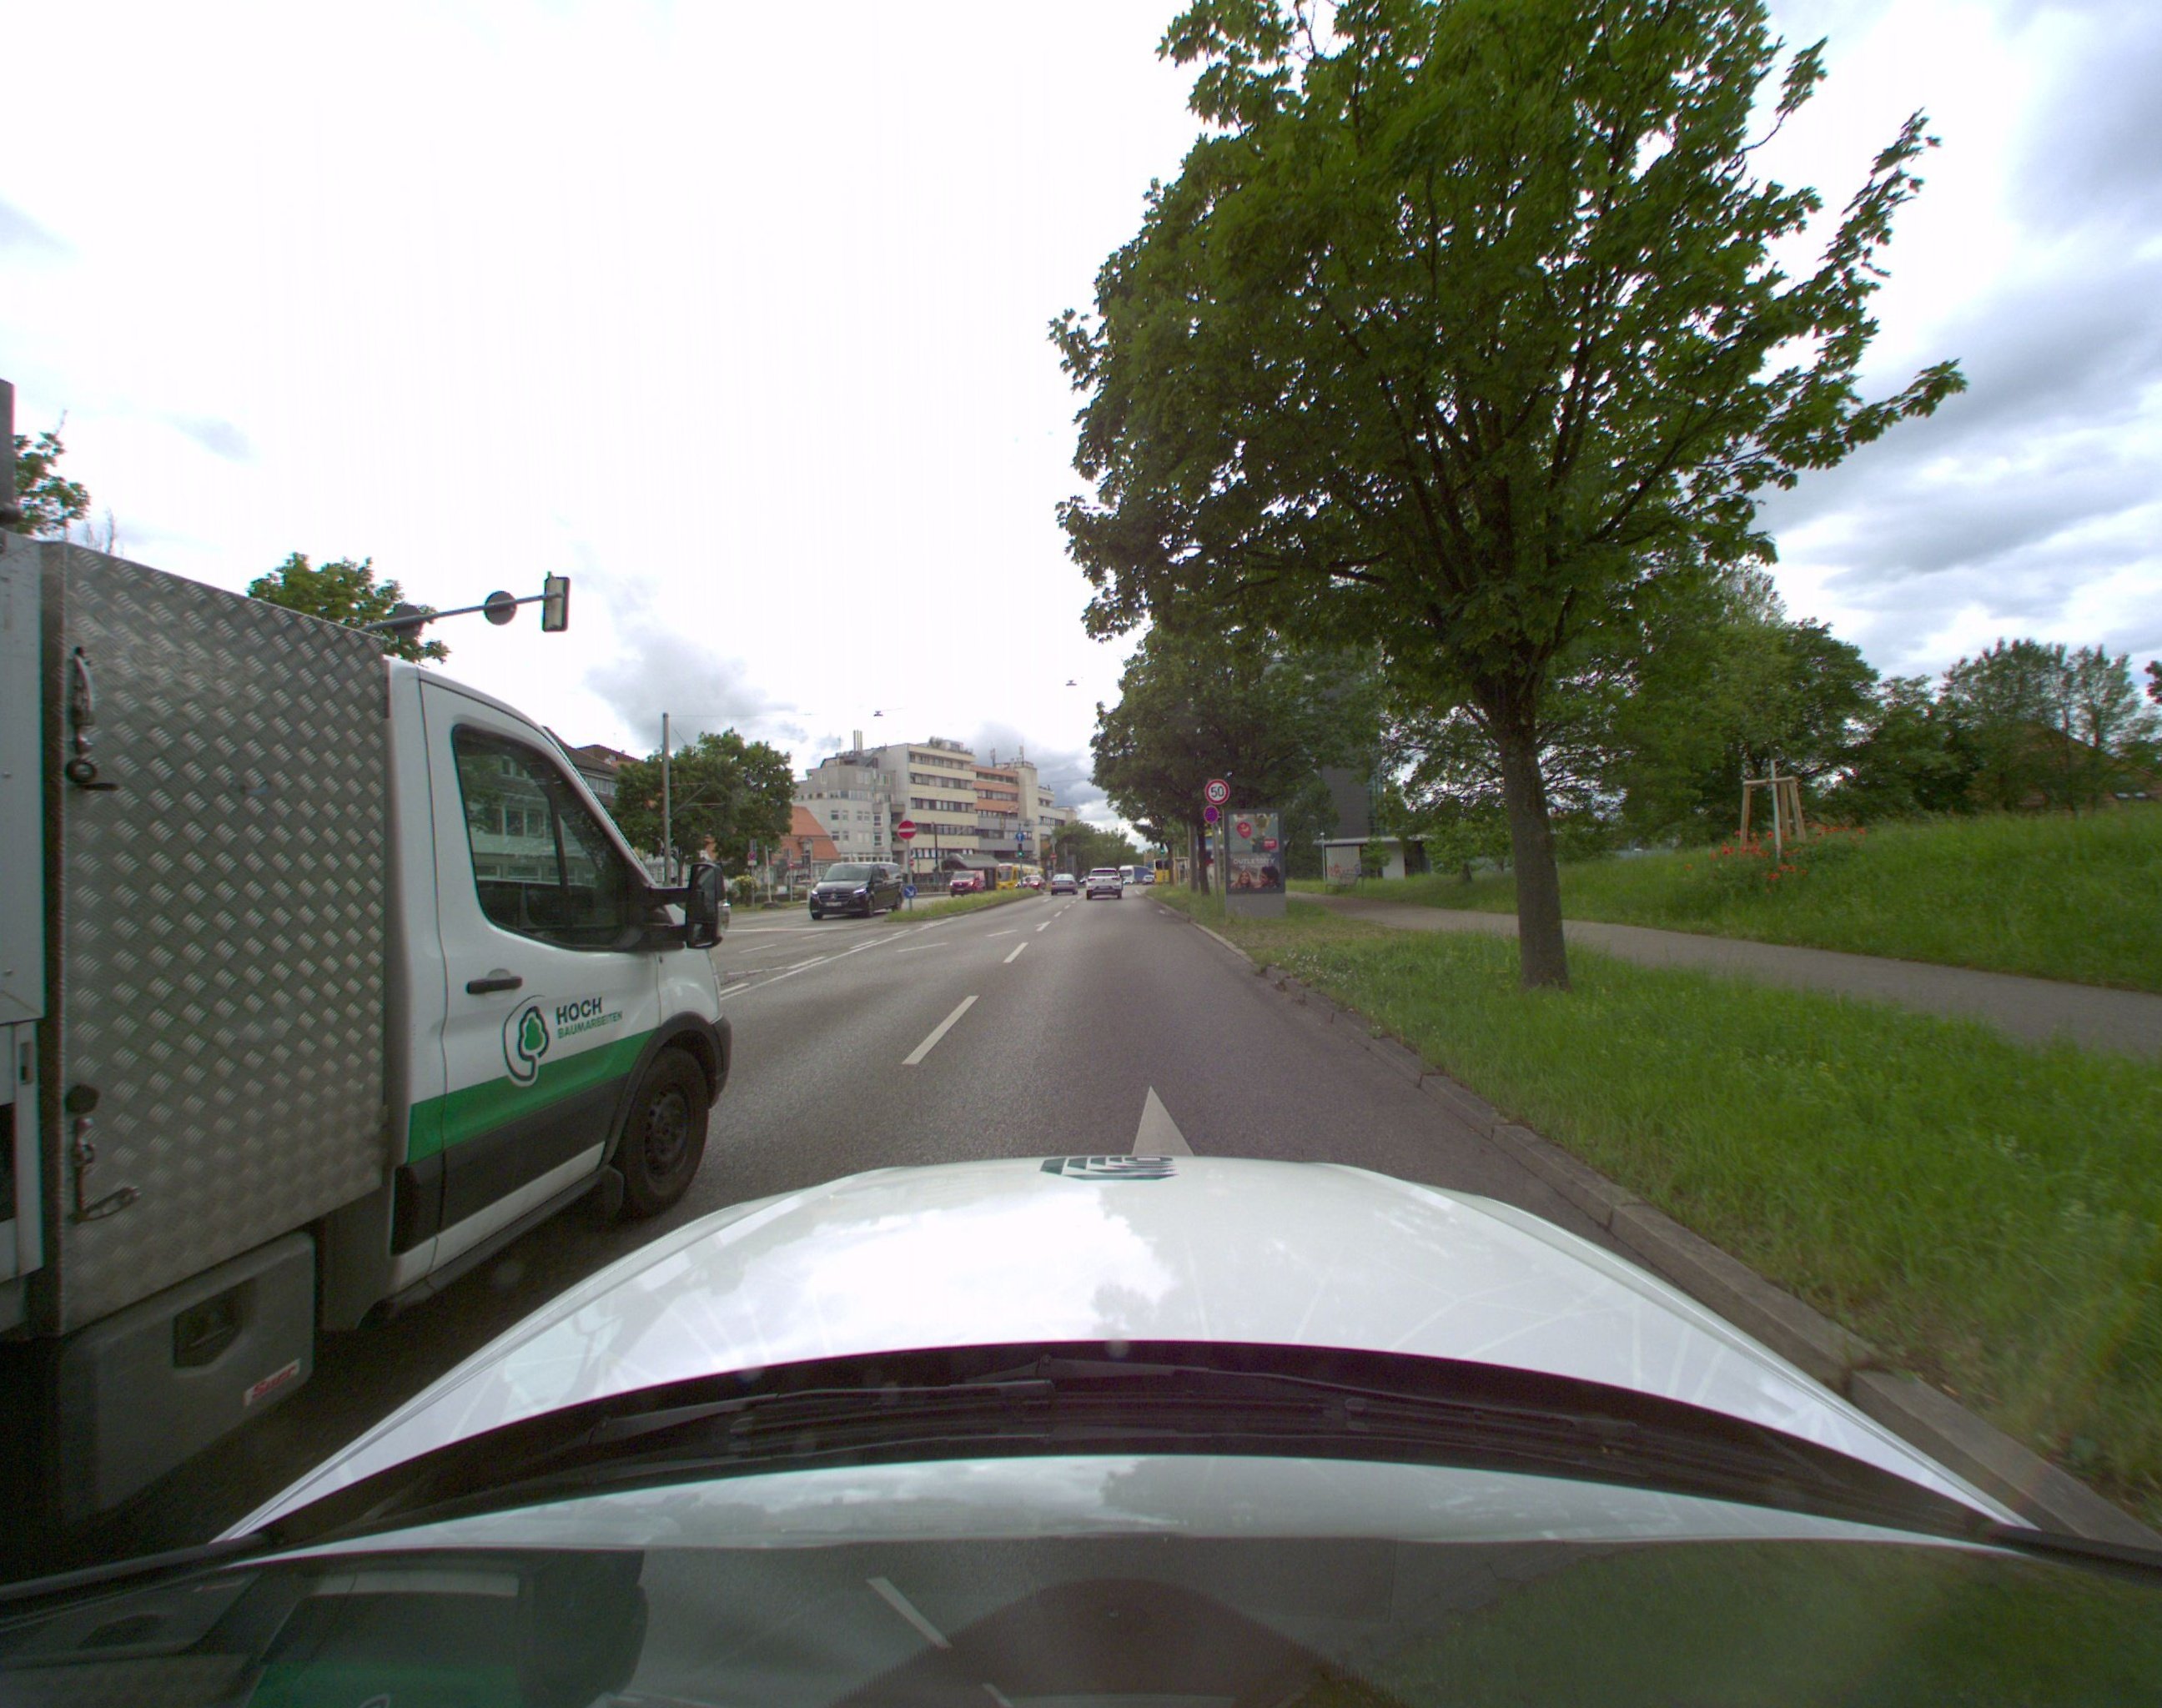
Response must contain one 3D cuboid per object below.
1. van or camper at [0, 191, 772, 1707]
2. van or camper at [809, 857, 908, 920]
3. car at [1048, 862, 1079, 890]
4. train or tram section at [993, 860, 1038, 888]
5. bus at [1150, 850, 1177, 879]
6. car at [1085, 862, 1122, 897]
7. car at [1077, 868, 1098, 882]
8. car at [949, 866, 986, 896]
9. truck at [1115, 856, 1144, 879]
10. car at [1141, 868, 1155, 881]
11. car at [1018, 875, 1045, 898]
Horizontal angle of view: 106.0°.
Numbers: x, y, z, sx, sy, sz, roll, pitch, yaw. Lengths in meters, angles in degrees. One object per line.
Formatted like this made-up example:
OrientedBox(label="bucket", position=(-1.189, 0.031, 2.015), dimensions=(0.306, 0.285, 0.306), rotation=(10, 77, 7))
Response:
OrientedBox(label="van or camper", position=(-2.857, 0.304, 1.497), dimensions=(2.336, 2.662, 5.962), rotation=(-1, 0, -1))
OrientedBox(label="van or camper", position=(-7.517, 1.107, 28.121), dimensions=(1.920, 1.938, 5.248), rotation=(-1, -1, 0))
OrientedBox(label="car", position=(-1.129, 1.442, 54.595), dimensions=(1.692, 1.515, 3.741), rotation=(-2, 2, 4))
OrientedBox(label="train or tram section", position=(-8.502, 2.644, 107.541), dimensions=(2.544, 3.411, 13.116), rotation=(-3, -2, 10))
OrientedBox(label="bus", position=(10.038, 1.306, 98.072), dimensions=(2.938, 3.190, 9.946), rotation=(-2, -1, 7))
OrientedBox(label="car", position=(1.198, 1.254, 41.441), dimensions=(1.692, 1.548, 3.741), rotation=(1, 2, 4))
OrientedBox(label="car", position=(0.882, 2.772, 107.309), dimensions=(1.885, 1.618, 4.290), rotation=(-3, -2, 13))
OrientedBox(label="car", position=(-8.668, 2.041, 62.496), dimensions=(1.986, 2.013, 4.838), rotation=(0, 2, 2))
OrientedBox(label="truck", position=(9.519, 2.502, 156.420), dimensions=(2.934, 4.080, 16.655), rotation=(-2, -1, 12))
OrientedBox(label="car", position=(9.380, 2.904, 114.642), dimensions=(1.763, 1.570, 4.289), rotation=(-2, 2, 3))
OrientedBox(label="car", position=(-4.487, 2.925, 74.497), dimensions=(1.986, 1.590, 4.839), rotation=(0, 4, 2))
